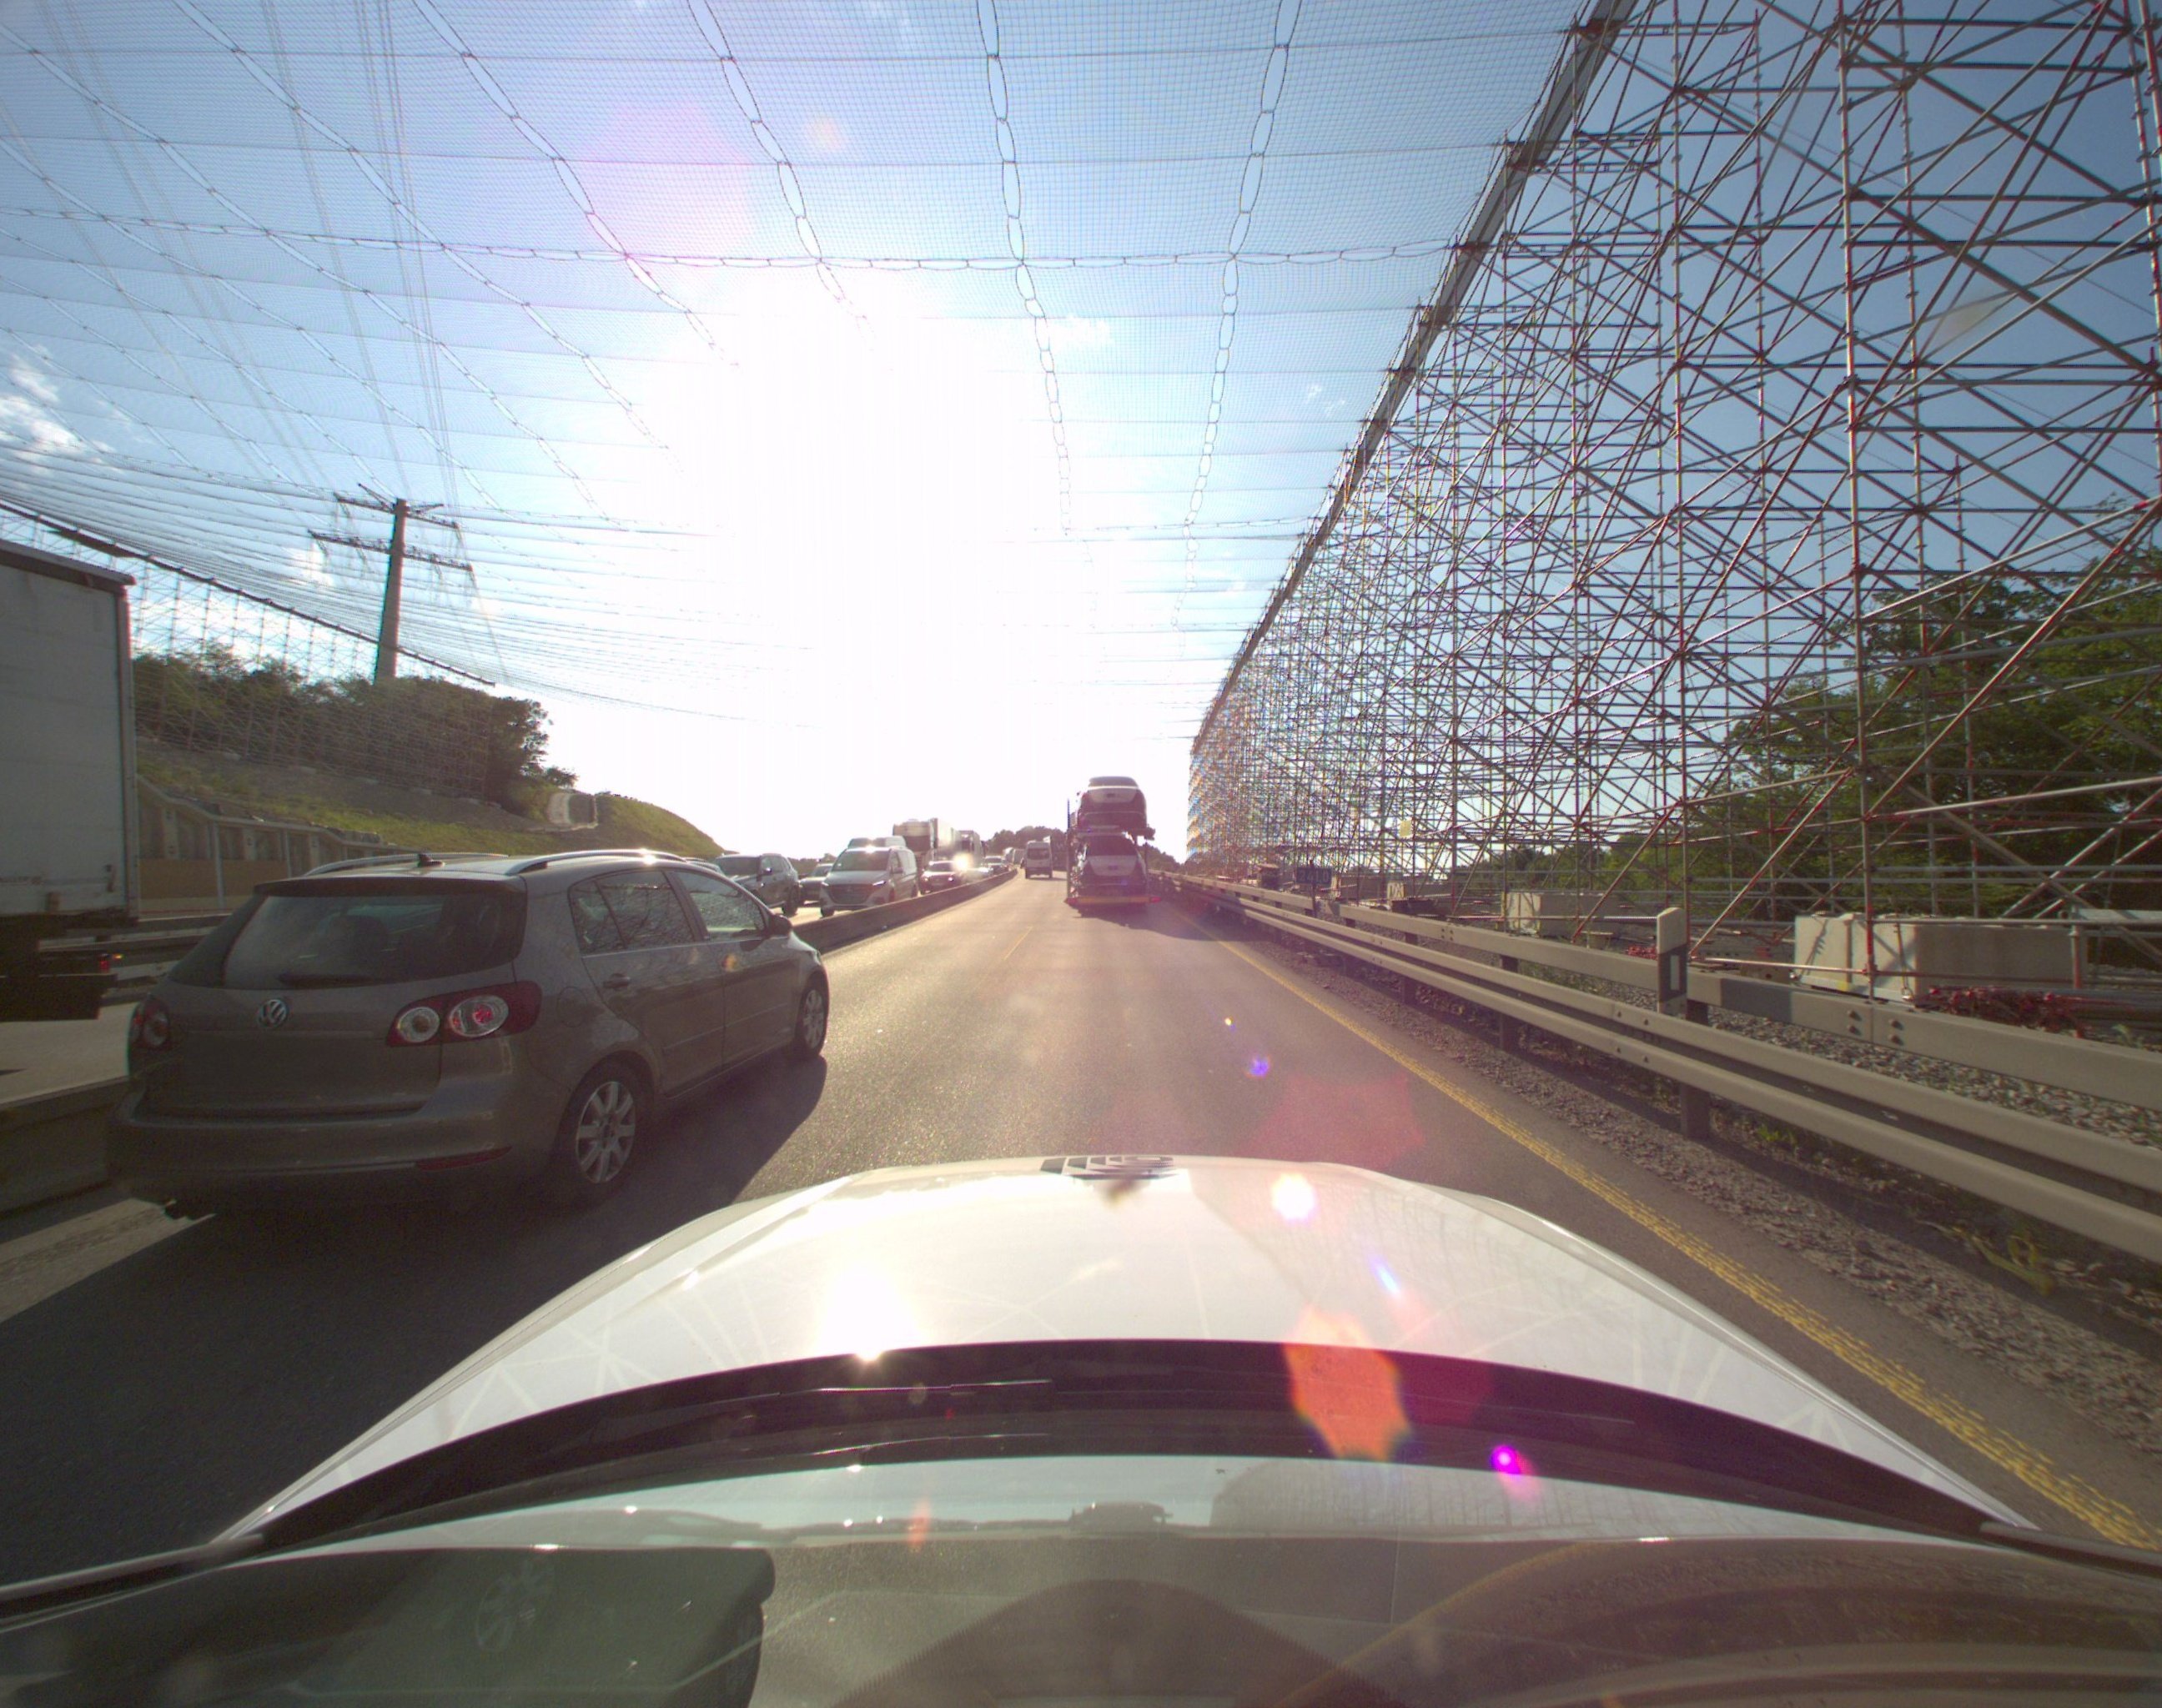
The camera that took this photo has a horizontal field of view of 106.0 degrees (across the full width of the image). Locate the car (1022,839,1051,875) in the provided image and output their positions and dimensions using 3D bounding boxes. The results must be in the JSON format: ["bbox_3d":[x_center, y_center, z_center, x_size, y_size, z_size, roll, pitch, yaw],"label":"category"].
[{"bbox_3d":[-3.359,0.228,60.337,1.918,2.492,5.398,0,-1,-5],"label":"car"}]

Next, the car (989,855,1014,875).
[{"bbox_3d":[-6.350,0.888,65.481,1.804,1.568,4.360,0,-1,-3],"label":"car"}]

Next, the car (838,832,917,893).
[{"bbox_3d":[-9.762,0.421,39.799,2.235,2.713,7.077,0,-1,-2],"label":"car"}]

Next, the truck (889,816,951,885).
[{"bbox_3d":[-9.721,-0.187,49.945,2.624,3.910,7.197,0,-1,-3],"label":"truck"}]

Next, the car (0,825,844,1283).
[{"bbox_3d":[-2.915,0.719,4.861,1.685,1.596,4.002,0,-1,2],"label":"car"}]

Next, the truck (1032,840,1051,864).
[{"bbox_3d":[-6.368,-0.317,130.905,2.528,3.648,8.884,0,-1,-7],"label":"truck"}]

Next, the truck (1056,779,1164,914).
[{"bbox_3d":[0.783,-0.154,26.367,2.790,3.497,10.604,0,0,0],"label":"truck"}]

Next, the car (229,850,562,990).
[{"bbox_3d":[-9.631,0.827,11.888,1.618,1.717,3.724,0,-1,2],"label":"car"}]

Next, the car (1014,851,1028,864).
[{"bbox_3d":[-7.922,0.471,107.457,1.823,1.772,3.993,0,-1,-5],"label":"car"}]

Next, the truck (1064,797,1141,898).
[{"bbox_3d":[0.703,-0.212,35.800,2.830,3.792,9.979,0,-1,-2],"label":"truck"}]

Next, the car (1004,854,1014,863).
[{"bbox_3d":[-13.953,0.877,157.529,1.835,1.836,3.991,0,-1,-6],"label":"car"}]

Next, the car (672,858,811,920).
[{"bbox_3d":[-9.192,0.885,22.577,1.786,1.540,4.908,0,0,0],"label":"car"}]

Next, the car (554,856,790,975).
[{"bbox_3d":[-6.127,0.829,12.810,1.577,1.552,4.217,0,-1,0],"label":"car"}]

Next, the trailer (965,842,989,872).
[{"bbox_3d":[-12.544,0.406,98.644,2.303,3.362,12.030,0,0,-5],"label":"trailer"}]

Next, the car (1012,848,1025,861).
[{"bbox_3d":[-9.743,0.112,127.032,1.629,2.014,3.987,0,-1,-9],"label":"car"}]

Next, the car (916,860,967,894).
[{"bbox_3d":[-6.347,1.008,37.408,1.804,1.419,4.512,0,0,-3],"label":"car"}]

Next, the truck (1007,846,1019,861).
[{"bbox_3d":[-15.378,-0.066,184.692,2.587,3.170,6.663,0,-1,-6],"label":"truck"}]

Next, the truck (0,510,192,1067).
[{"bbox_3d":[-9.655,-0.538,0.396,2.712,4.227,14.169,0,0,1],"label":"truck"}]

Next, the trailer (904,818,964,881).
[{"bbox_3d":[-10.306,-0.218,58.399,2.664,4.015,13.315,0,0,-3],"label":"trailer"}]

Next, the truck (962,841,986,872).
[{"bbox_3d":[-12.075,0.337,92.322,2.410,3.370,5.607,0,-1,-5],"label":"truck"}]

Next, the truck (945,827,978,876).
[{"bbox_3d":[-10.428,-0.183,71.282,2.469,4.046,5.608,0,-1,-5],"label":"truck"}]

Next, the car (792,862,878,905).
[{"bbox_3d":[-8.870,1.008,29.771,1.786,1.437,4.380,0,0,0],"label":"car"}]

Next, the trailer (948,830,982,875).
[{"bbox_3d":[-11.016,-0.071,78.231,2.424,3.963,14.073,0,0,-5],"label":"trailer"}]

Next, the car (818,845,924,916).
[{"bbox_3d":[-6.061,0.727,24.189,1.802,1.869,5.280,0,-1,0],"label":"car"}]

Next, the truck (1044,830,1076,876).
[{"bbox_3d":[-2.618,-0.113,98.613,3.281,5.237,9.918,0,-1,-5],"label":"truck"}]

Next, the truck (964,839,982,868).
[{"bbox_3d":[-14.519,0.002,109.638,2.430,3.785,5.602,0,-1,-7],"label":"truck"}]

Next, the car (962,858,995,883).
[{"bbox_3d":[-6.628,1.035,52.803,1.804,1.568,4.360,0,-1,-3],"label":"car"}]
